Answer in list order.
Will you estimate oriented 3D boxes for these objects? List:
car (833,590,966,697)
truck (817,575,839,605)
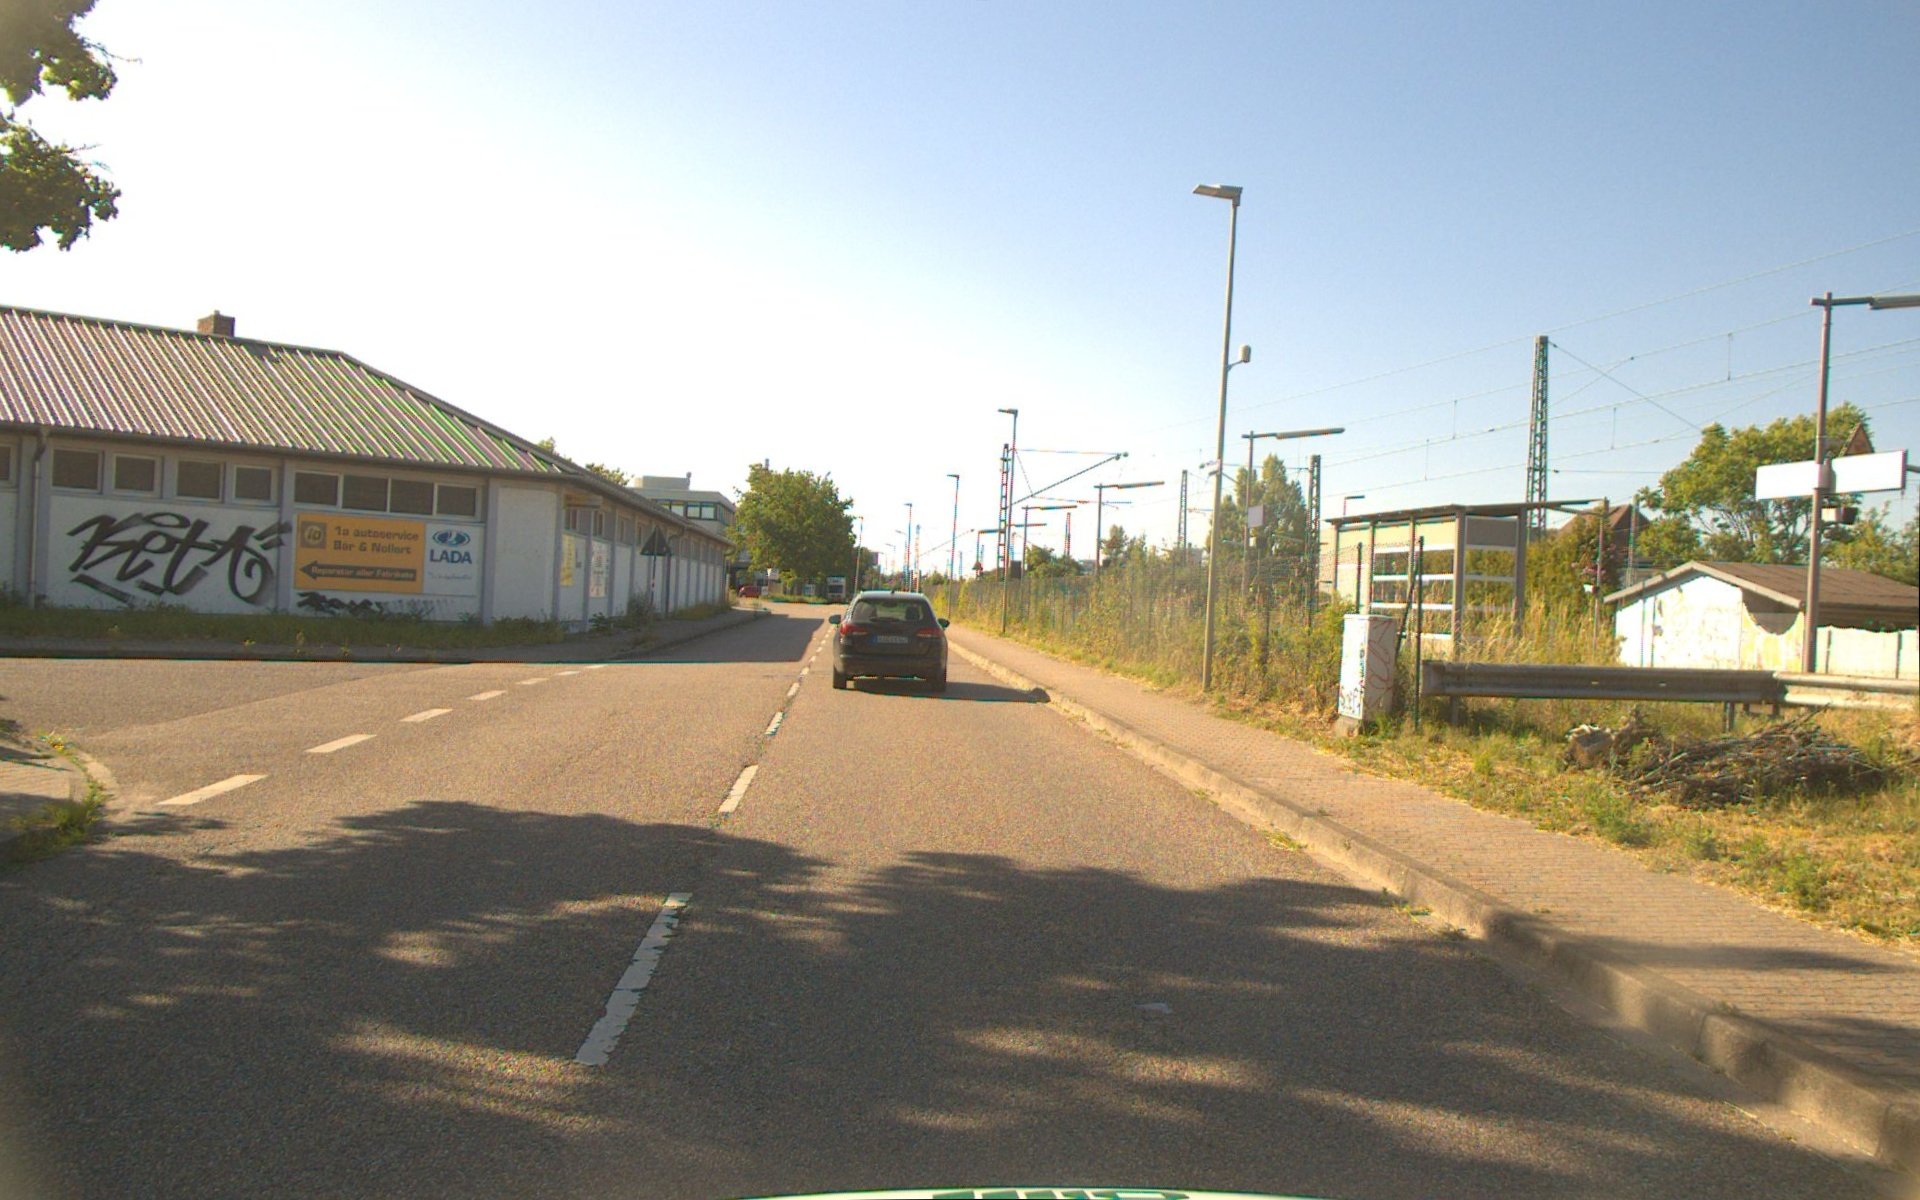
[{"bbox_3d":[-1.034,0.635,26.283,1.904,1.515,4.561,1,0,-4],"label":"car"},{"bbox_3d":[-18.213,-1.363,228.351,2.563,3.952,13.515,3,0,-6],"label":"truck"}]
